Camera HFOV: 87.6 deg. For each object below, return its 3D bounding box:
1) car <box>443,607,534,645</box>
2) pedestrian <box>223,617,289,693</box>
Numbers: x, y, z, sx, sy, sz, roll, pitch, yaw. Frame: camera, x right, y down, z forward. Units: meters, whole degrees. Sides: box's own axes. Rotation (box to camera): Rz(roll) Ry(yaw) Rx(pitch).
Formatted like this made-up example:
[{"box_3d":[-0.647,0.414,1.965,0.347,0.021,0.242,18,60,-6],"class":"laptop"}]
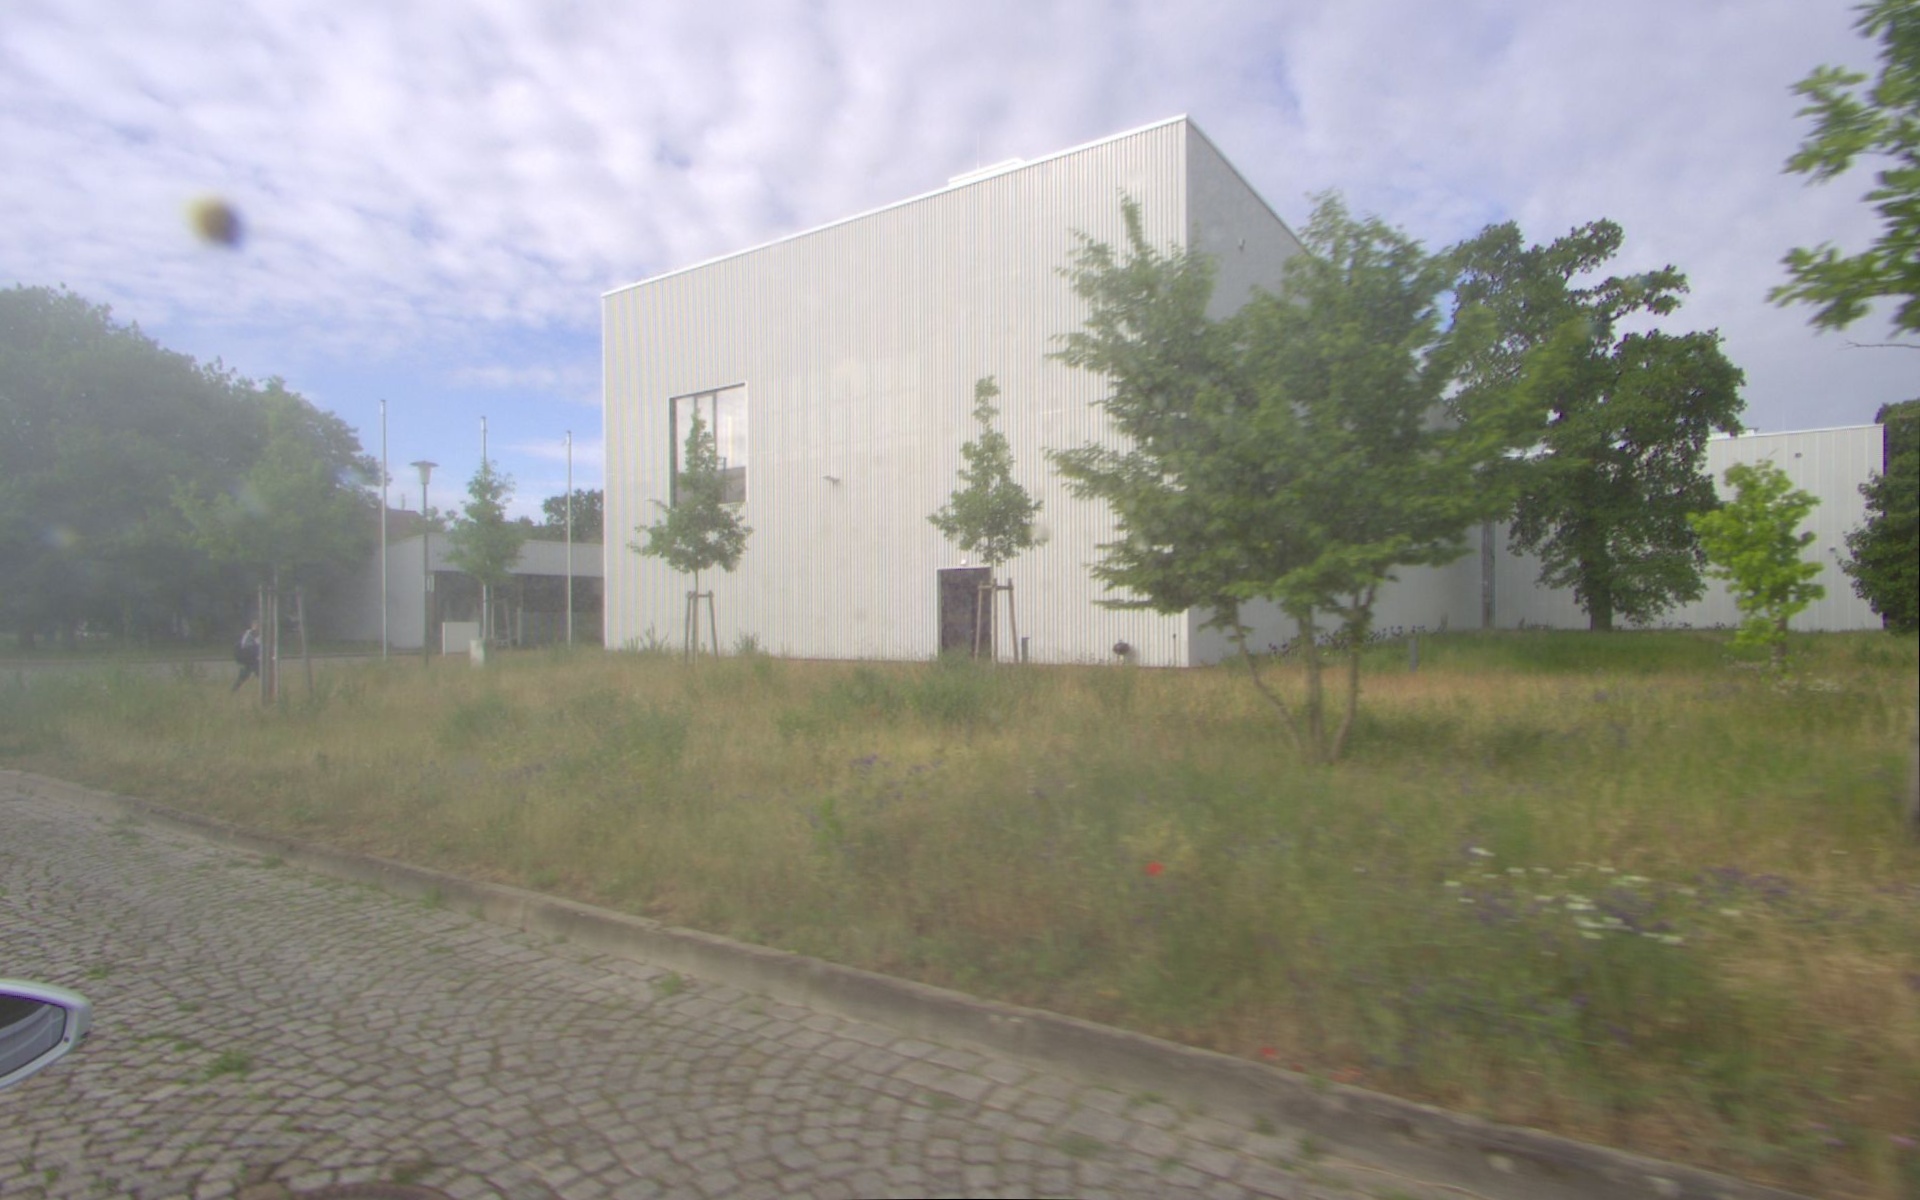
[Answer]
[{"box_3d":[-26.277,1.425,55.757,5.263,2.040,2.236,-1,-1,34],"class":"car"},{"box_3d":[-15.034,1.153,21.423,1.064,1.577,1.069,0,0,-31],"class":"pedestrian"}]
